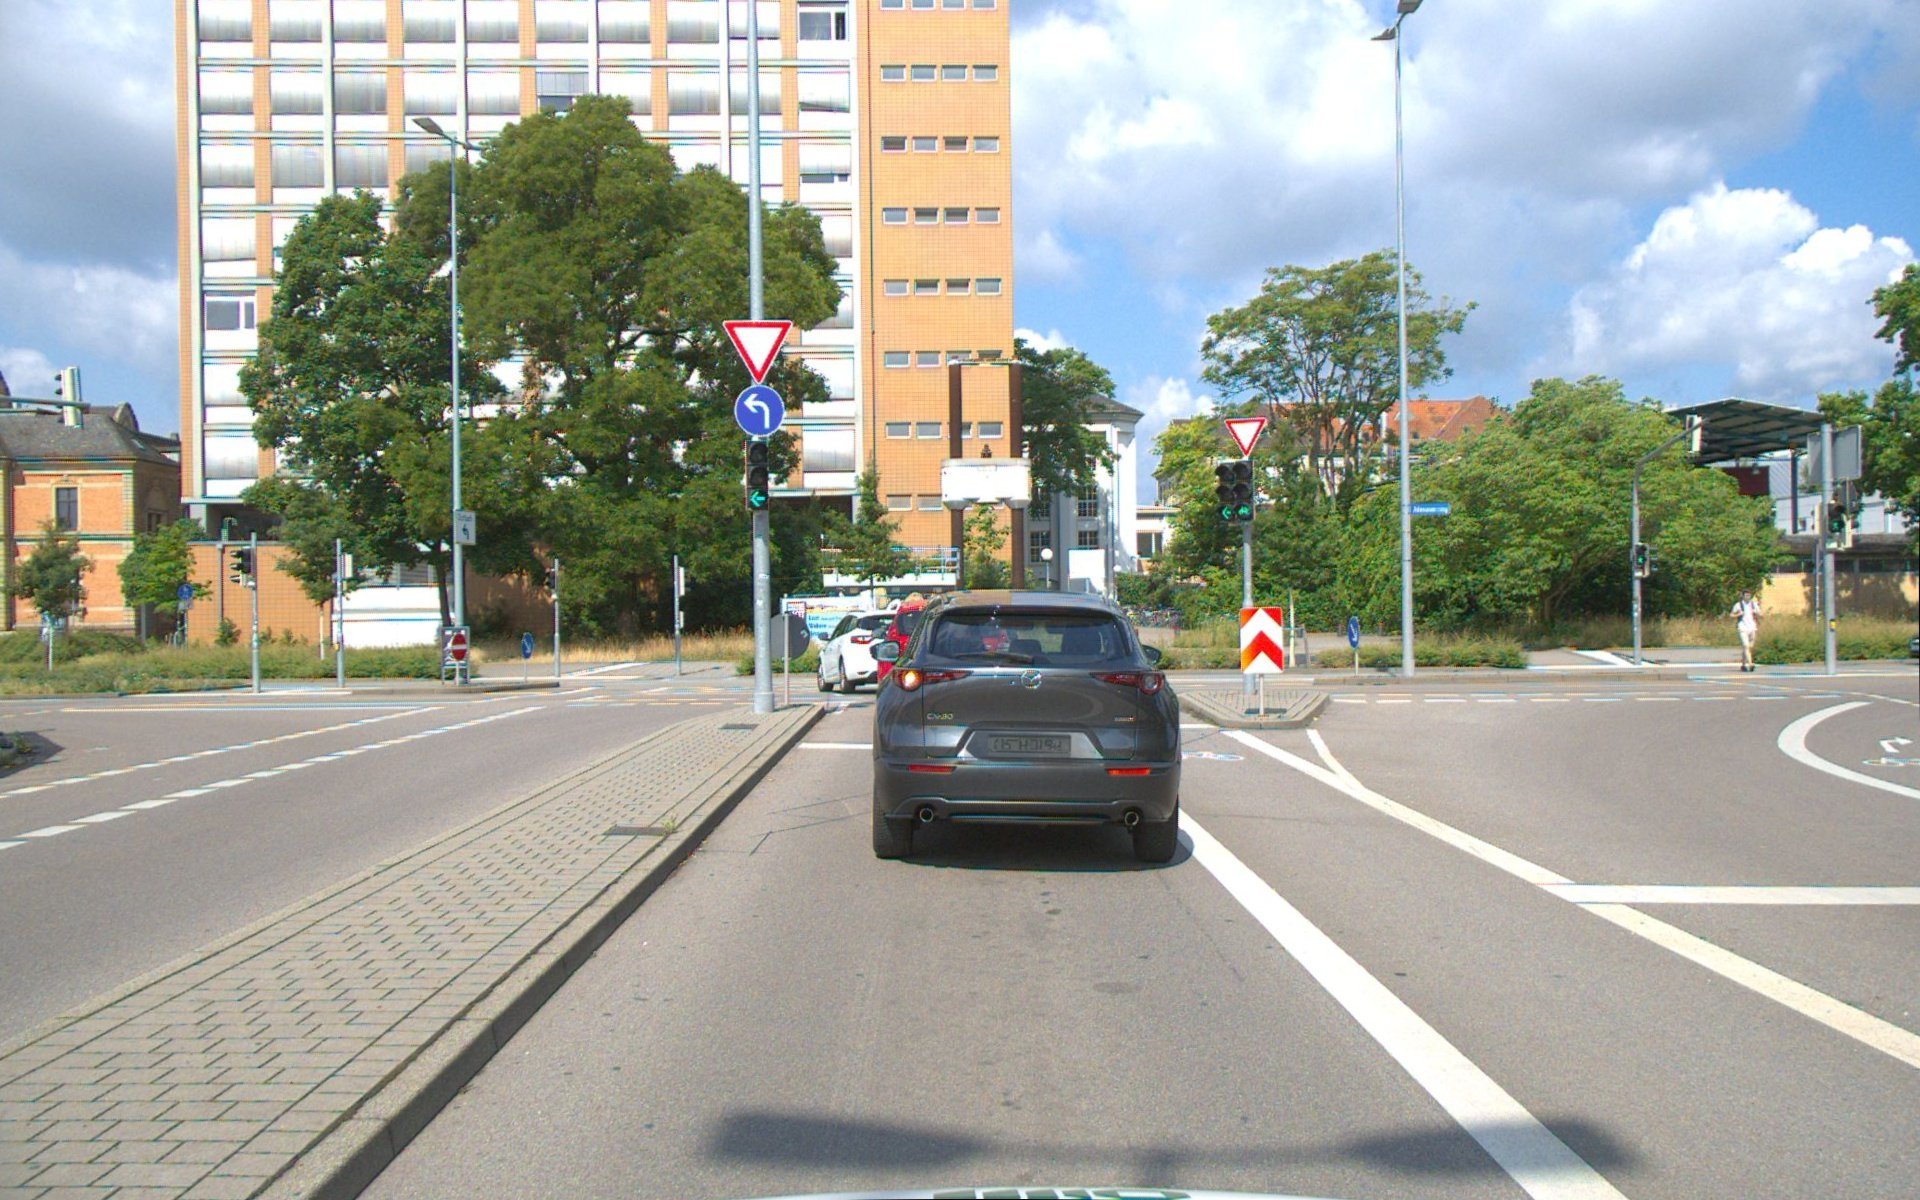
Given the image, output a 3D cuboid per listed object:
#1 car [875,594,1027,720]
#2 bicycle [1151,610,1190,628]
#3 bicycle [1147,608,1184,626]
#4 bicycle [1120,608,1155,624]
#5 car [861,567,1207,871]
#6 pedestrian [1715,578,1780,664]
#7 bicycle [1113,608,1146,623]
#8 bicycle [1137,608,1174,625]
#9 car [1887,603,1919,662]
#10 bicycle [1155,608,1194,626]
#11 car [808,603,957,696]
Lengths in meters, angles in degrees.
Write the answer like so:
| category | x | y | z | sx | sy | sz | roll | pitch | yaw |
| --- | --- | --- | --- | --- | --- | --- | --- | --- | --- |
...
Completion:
| category | x | y | z | sx | sy | sz | roll | pitch | yaw |
| --- | --- | --- | --- | --- | --- | --- | --- | --- | --- |
| car | -0.132 | 0.669 | 21.518 | 1.779 | 1.464 | 4.066 | 1 | 0 | -1 |
| bicycle | 11.490 | 1.046 | 90.207 | 2.013 | 0.953 | 0.804 | -1 | -1 | -2 |
| bicycle | 11.705 | 0.965 | 94.209 | 2.013 | 0.953 | 0.804 | -1 | -1 | -2 |
| bicycle | 10.982 | 0.976 | 102.389 | 2.013 | 0.953 | 0.804 | -1 | -1 | -2 |
| car | 0.341 | 0.620 | 10.707 | 1.769 | 1.534 | 4.204 | 2 | 0 | -1 |
| pedestrian | 17.929 | 0.488 | 37.679 | 0.684 | 1.890 | 1.177 | -1 | -3 | -11 |
| bicycle | 10.987 | 0.989 | 107.249 | 2.013 | 0.953 | 0.804 | -1 | -1 | -2 |
| bicycle | 11.546 | 0.973 | 97.665 | 2.013 | 0.953 | 0.804 | -1 | -1 | -2 |
| car | 25.372 | 0.755 | 40.622 | 4.061 | 1.401 | 2.000 | -1 | 0 | 1 |
| bicycle | 12.044 | 0.968 | 92.915 | 2.013 | 0.953 | 0.804 | -1 | -1 | -2 |
| car | -1.485 | 0.831 | 29.814 | 1.817 | 1.498 | 4.318 | -1 | 0 | -14 |
